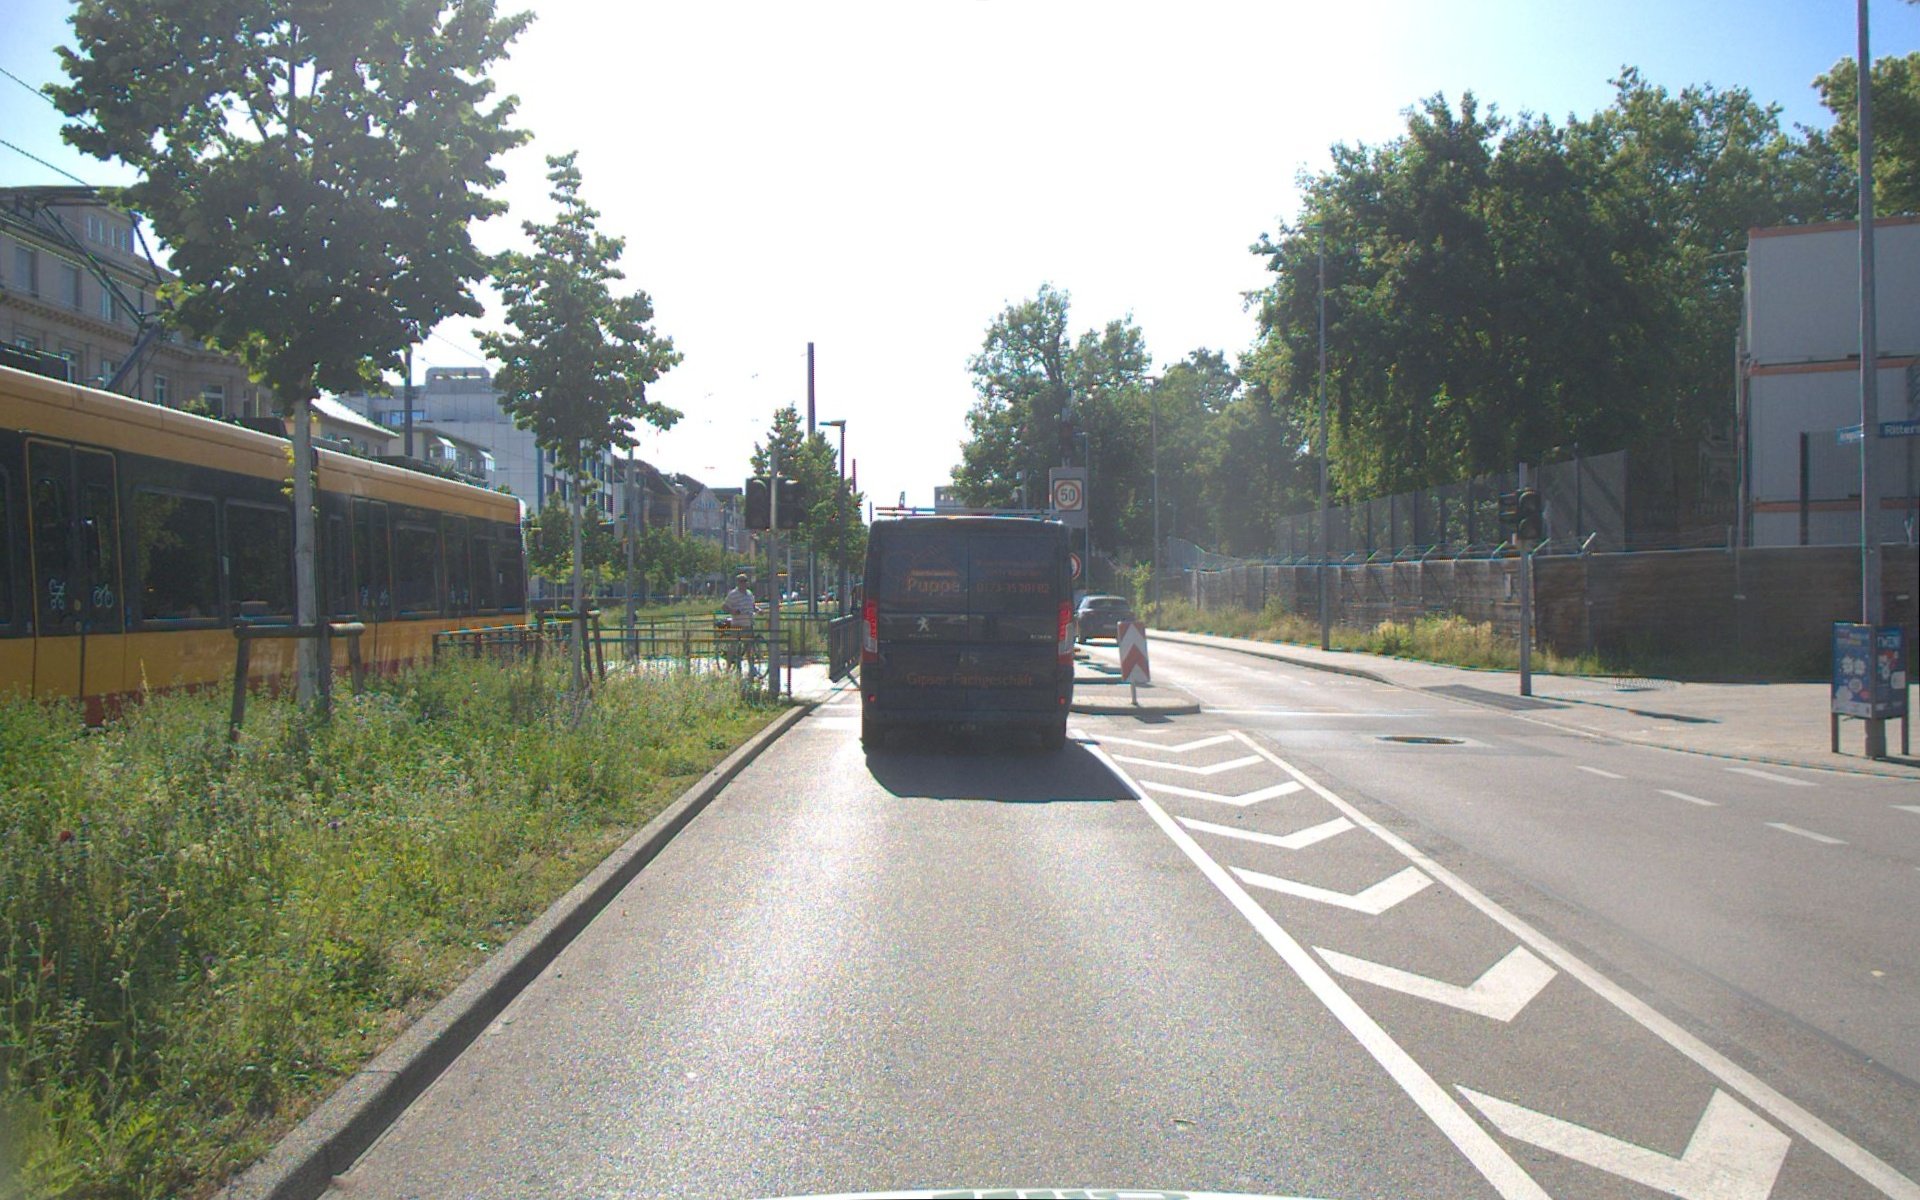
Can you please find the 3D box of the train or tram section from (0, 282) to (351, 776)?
[{"bbox_3d":[-8.306,-0.550,14.666,1.953,3.733,11.312,0,0,-2],"label":"train or tram section"}]

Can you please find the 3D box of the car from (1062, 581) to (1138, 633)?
[{"bbox_3d":[4.216,0.197,50.282,1.728,1.488,3.997,0,0,-3],"label":"car"}]

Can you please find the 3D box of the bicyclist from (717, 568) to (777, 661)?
[{"bbox_3d":[-3.607,0.237,28.000,0.816,1.539,0.723,0,0,-27],"label":"bicyclist"}]

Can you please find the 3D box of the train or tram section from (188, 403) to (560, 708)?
[{"bbox_3d":[-8.607,-0.574,26.144,1.953,3.733,11.680,0,0,-1],"label":"train or tram section"}]

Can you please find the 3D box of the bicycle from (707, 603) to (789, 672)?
[{"bbox_3d":[-3.619,0.608,28.042,0.724,1.110,2.064,0,0,-27],"label":"bicycle"}]

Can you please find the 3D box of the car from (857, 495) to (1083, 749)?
[{"bbox_3d":[0.026,0.193,16.975,2.040,2.288,3.998,0,0,-2],"label":"car"}]
